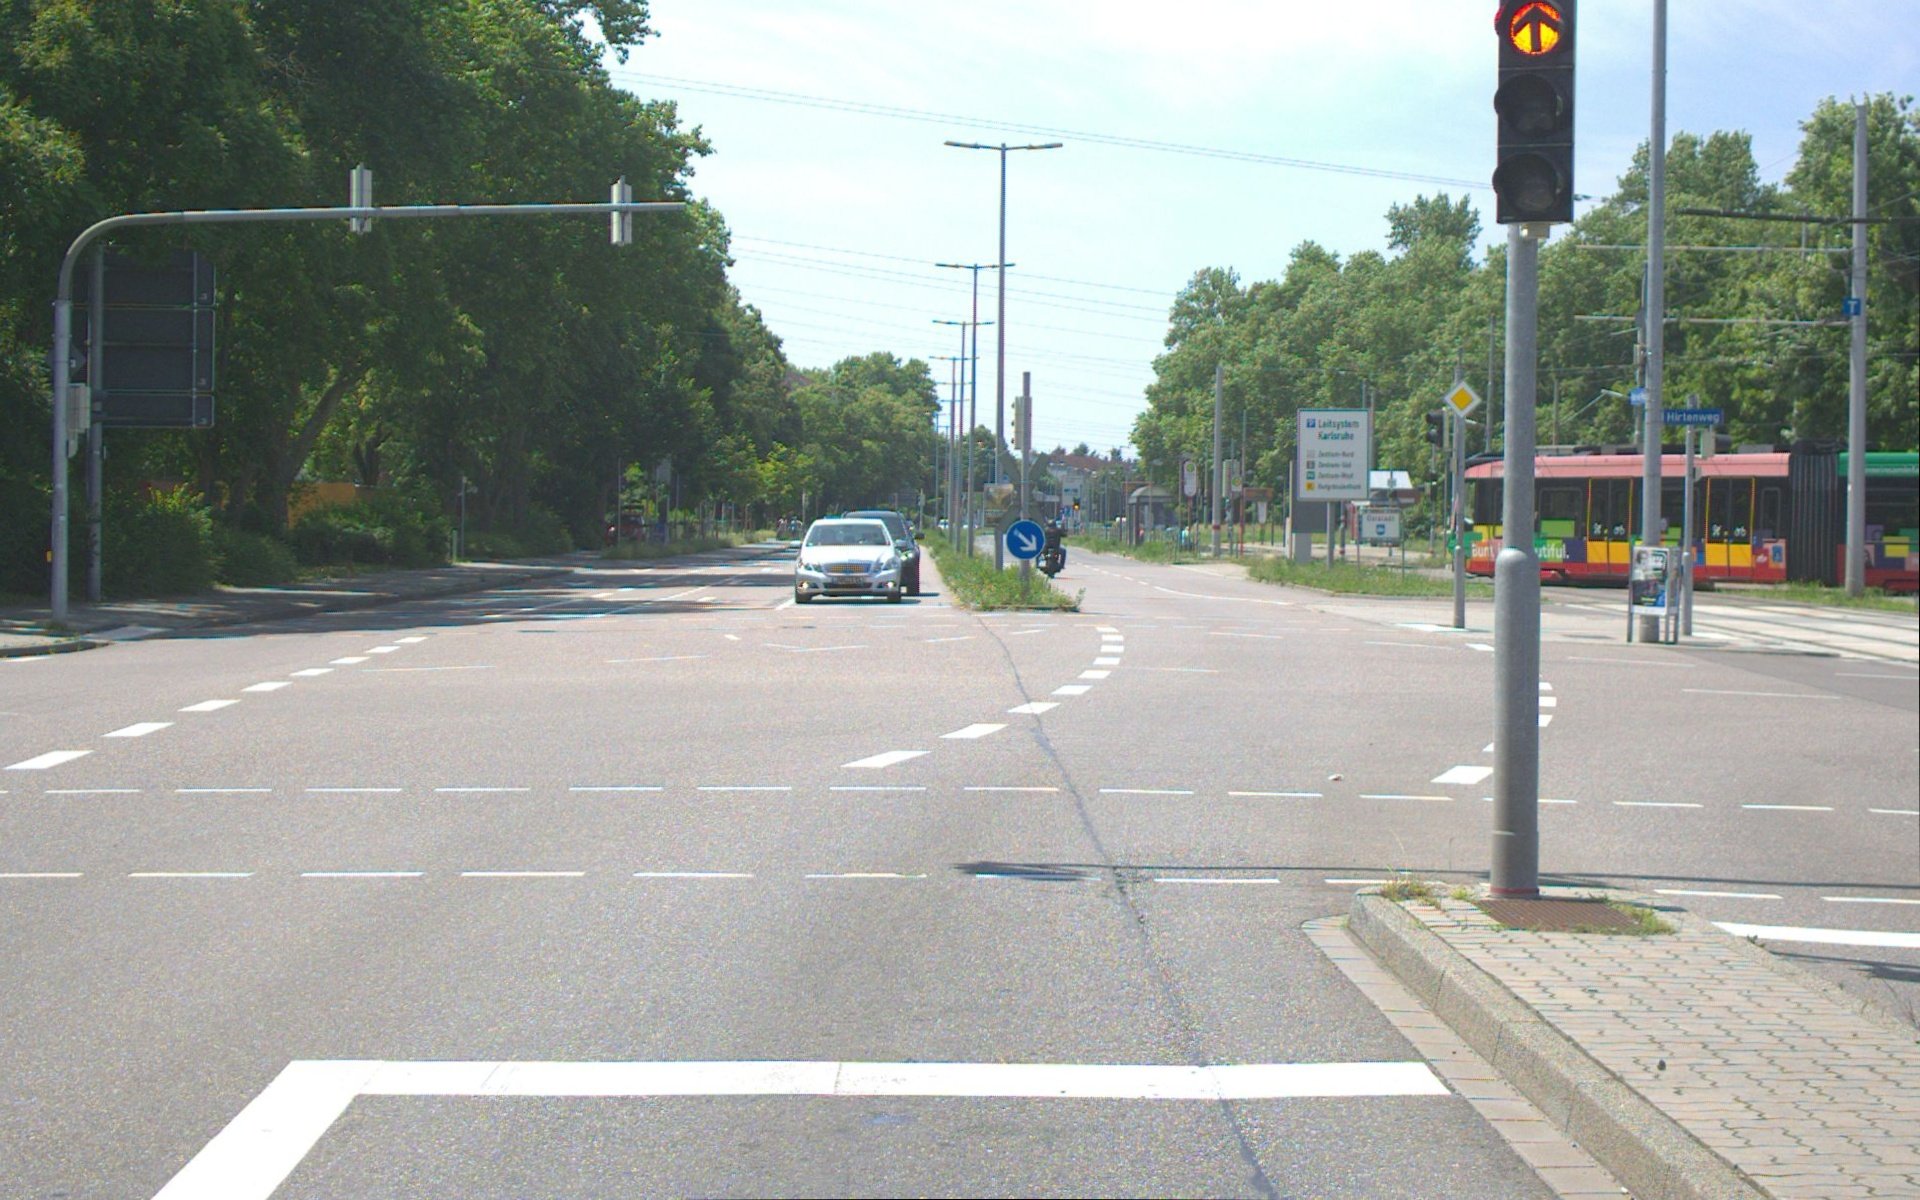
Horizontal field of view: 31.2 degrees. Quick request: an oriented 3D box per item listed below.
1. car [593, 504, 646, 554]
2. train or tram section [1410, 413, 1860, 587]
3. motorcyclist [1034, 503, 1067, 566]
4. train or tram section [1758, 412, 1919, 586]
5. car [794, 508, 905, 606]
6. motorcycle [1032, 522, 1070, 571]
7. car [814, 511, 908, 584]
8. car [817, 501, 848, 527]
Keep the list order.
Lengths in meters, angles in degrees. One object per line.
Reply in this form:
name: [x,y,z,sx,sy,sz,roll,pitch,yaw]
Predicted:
car: [-14.900,-3.102,150.608,1.993,2.007,4.001,4,1,-3]
train or tram section: [16.475,-2.324,85.497,2.914,3.799,13.075,3,-2,-31]
motorcyclist: [2.390,-1.742,90.946,0.790,1.637,1.211,2,1,1]
train or tram section: [24.785,-2.222,76.584,13.439,3.799,2.917,1,-2,34]
car: [-1.902,-0.779,60.001,1.784,1.623,3.865,1,1,0]
motorcycle: [2.398,-1.416,90.944,0.847,1.251,2.449,2,1,-1]
car: [-1.921,-1.049,67.336,1.710,1.361,3.865,1,2,0]
car: [-7.445,-5.013,201.362,1.671,1.485,3.711,1,1,0]
